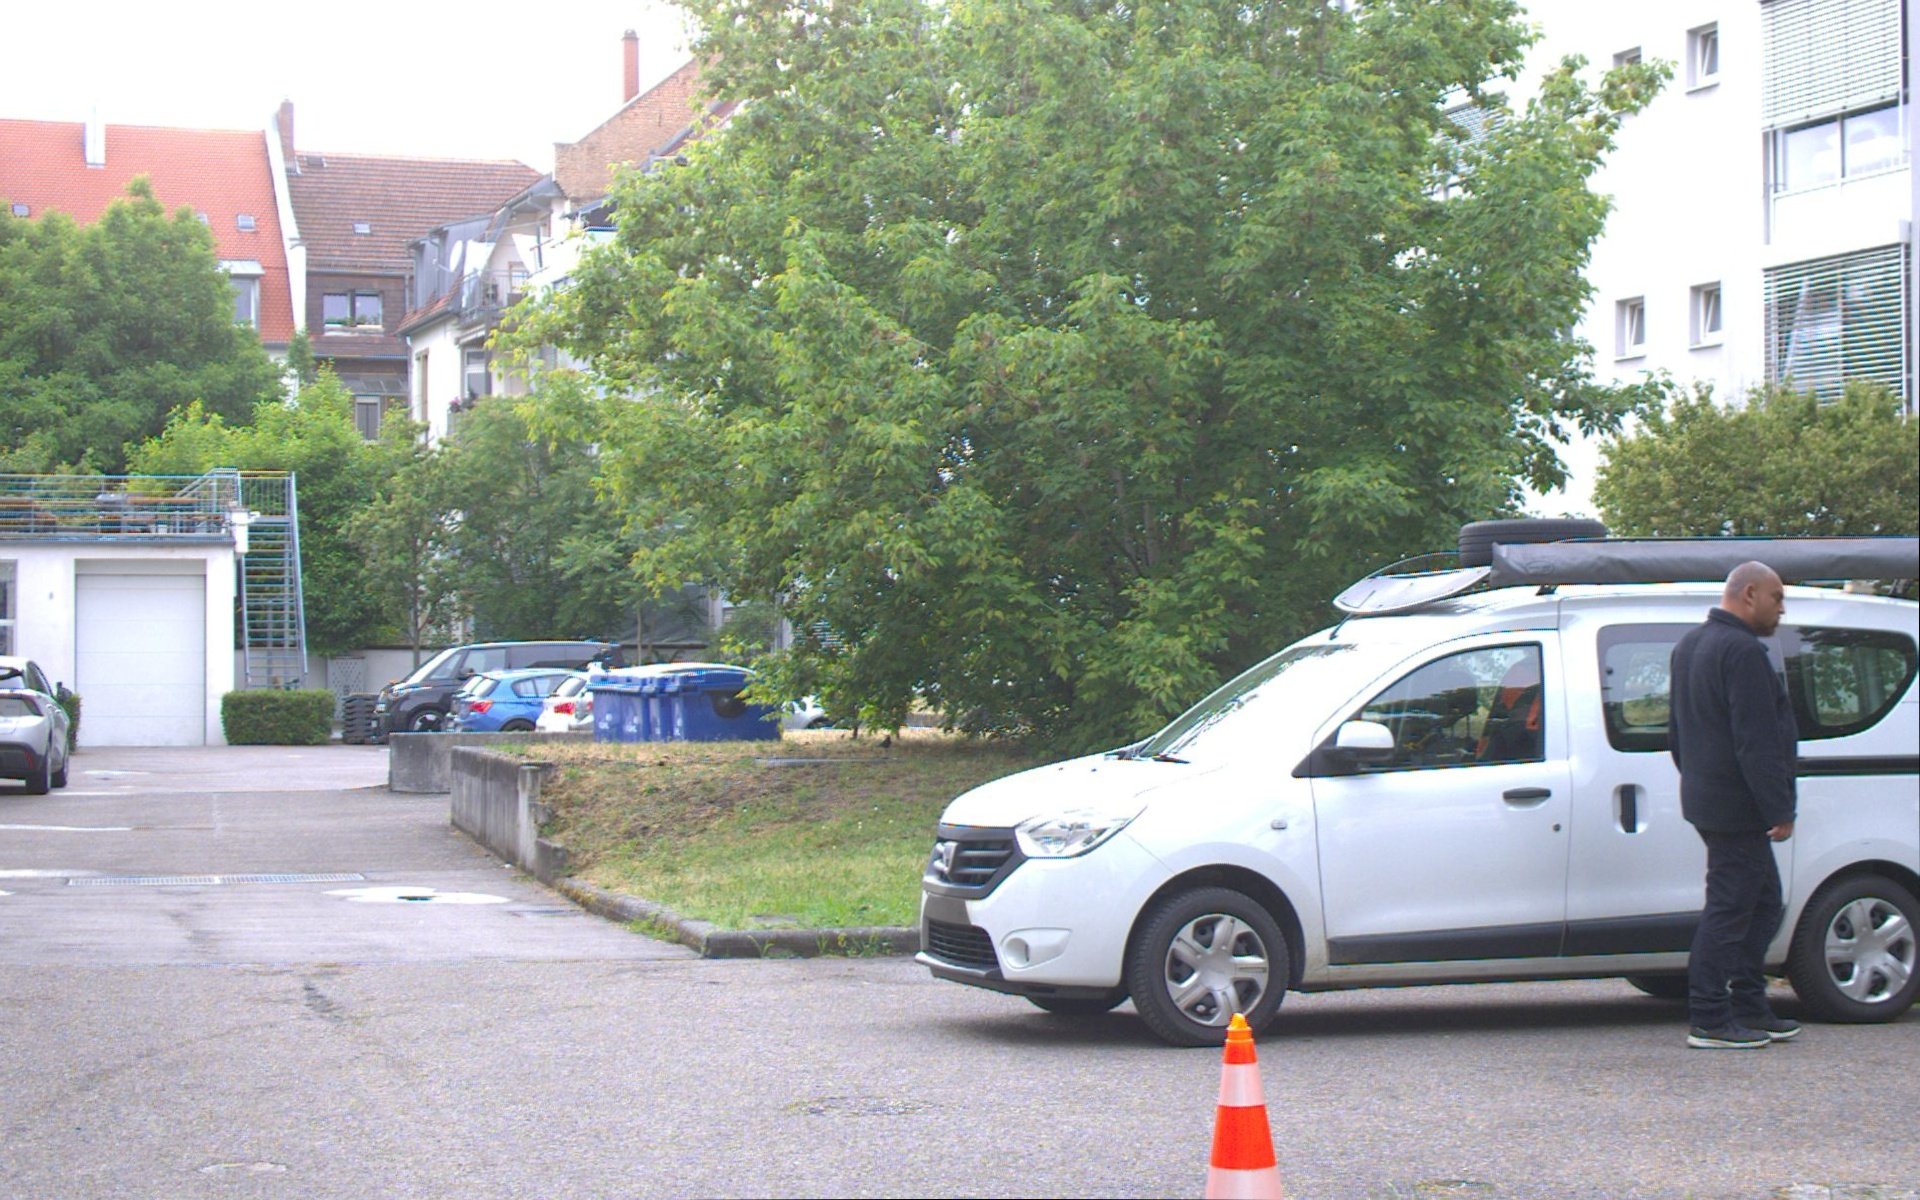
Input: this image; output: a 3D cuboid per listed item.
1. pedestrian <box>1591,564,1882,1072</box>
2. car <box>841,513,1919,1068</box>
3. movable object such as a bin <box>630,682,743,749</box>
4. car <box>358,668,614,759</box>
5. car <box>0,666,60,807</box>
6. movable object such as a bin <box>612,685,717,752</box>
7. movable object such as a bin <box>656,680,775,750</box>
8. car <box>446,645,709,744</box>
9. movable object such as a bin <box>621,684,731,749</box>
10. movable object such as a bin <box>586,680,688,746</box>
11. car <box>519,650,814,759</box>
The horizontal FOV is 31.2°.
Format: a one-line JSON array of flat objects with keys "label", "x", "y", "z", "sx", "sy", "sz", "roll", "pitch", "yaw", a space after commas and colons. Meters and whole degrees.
[{"label": "pedestrian", "x": 2.849, "y": 0.788, "z": 12.660, "sx": 0.753, "sy": 1.803, "sz": 0.698, "roll": 0, "pitch": -3, "yaw": -18}, {"label": "car", "x": 1.860, "y": 0.747, "z": 14.014, "sx": 4.336, "sy": 2.007, "sz": 1.854, "roll": 1, "pitch": -2, "yaw": -19}, {"label": "movable object such as a bin", "x": -2.634, "y": 1.115, "z": 33.063, "sx": 0.964, "sy": 0.634, "sz": 0.911, "roll": 1, "pitch": -2, "yaw": -13}, {"label": "car", "x": -8.546, "y": 2.019, "z": 61.983, "sx": 4.181, "sy": 1.569, "sz": 2.000, "roll": 0, "pitch": -1, "yaw": -25}, {"label": "car", "x": -11.089, "y": 1.524, "z": 38.531, "sx": 1.847, "sy": 1.503, "sz": 4.001, "roll": 1, "pitch": -2, "yaw": -13}, {"label": "movable object such as a bin", "x": -3.026, "y": 1.213, "z": 35.120, "sx": 0.964, "sy": 0.677, "sz": 0.811, "roll": 1, "pitch": -2, "yaw": -13}, {"label": "movable object such as a bin", "x": -2.272, "y": 1.071, "z": 31.884, "sx": 0.964, "sy": 0.634, "sz": 0.911, "roll": 1, "pitch": -2, "yaw": -13}, {"label": "car", "x": -6.278, "y": 1.530, "z": 56.452, "sx": 3.986, "sy": 1.569, "sz": 1.585, "roll": 0, "pitch": -1, "yaw": -25}, {"label": "movable object such as a bin", "x": -2.826, "y": 1.155, "z": 34.152, "sx": 0.964, "sy": 0.634, "sz": 0.911, "roll": 1, "pitch": -2, "yaw": -13}, {"label": "movable object such as a bin", "x": -3.386, "y": 1.185, "z": 35.992, "sx": 0.964, "sy": 0.677, "sz": 0.871, "roll": 1, "pitch": -2, "yaw": -13}, {"label": "car", "x": -4.424, "y": 1.545, "z": 51.778, "sx": 3.986, "sy": 1.569, "sz": 2.000, "roll": 0, "pitch": -1, "yaw": -25}]
